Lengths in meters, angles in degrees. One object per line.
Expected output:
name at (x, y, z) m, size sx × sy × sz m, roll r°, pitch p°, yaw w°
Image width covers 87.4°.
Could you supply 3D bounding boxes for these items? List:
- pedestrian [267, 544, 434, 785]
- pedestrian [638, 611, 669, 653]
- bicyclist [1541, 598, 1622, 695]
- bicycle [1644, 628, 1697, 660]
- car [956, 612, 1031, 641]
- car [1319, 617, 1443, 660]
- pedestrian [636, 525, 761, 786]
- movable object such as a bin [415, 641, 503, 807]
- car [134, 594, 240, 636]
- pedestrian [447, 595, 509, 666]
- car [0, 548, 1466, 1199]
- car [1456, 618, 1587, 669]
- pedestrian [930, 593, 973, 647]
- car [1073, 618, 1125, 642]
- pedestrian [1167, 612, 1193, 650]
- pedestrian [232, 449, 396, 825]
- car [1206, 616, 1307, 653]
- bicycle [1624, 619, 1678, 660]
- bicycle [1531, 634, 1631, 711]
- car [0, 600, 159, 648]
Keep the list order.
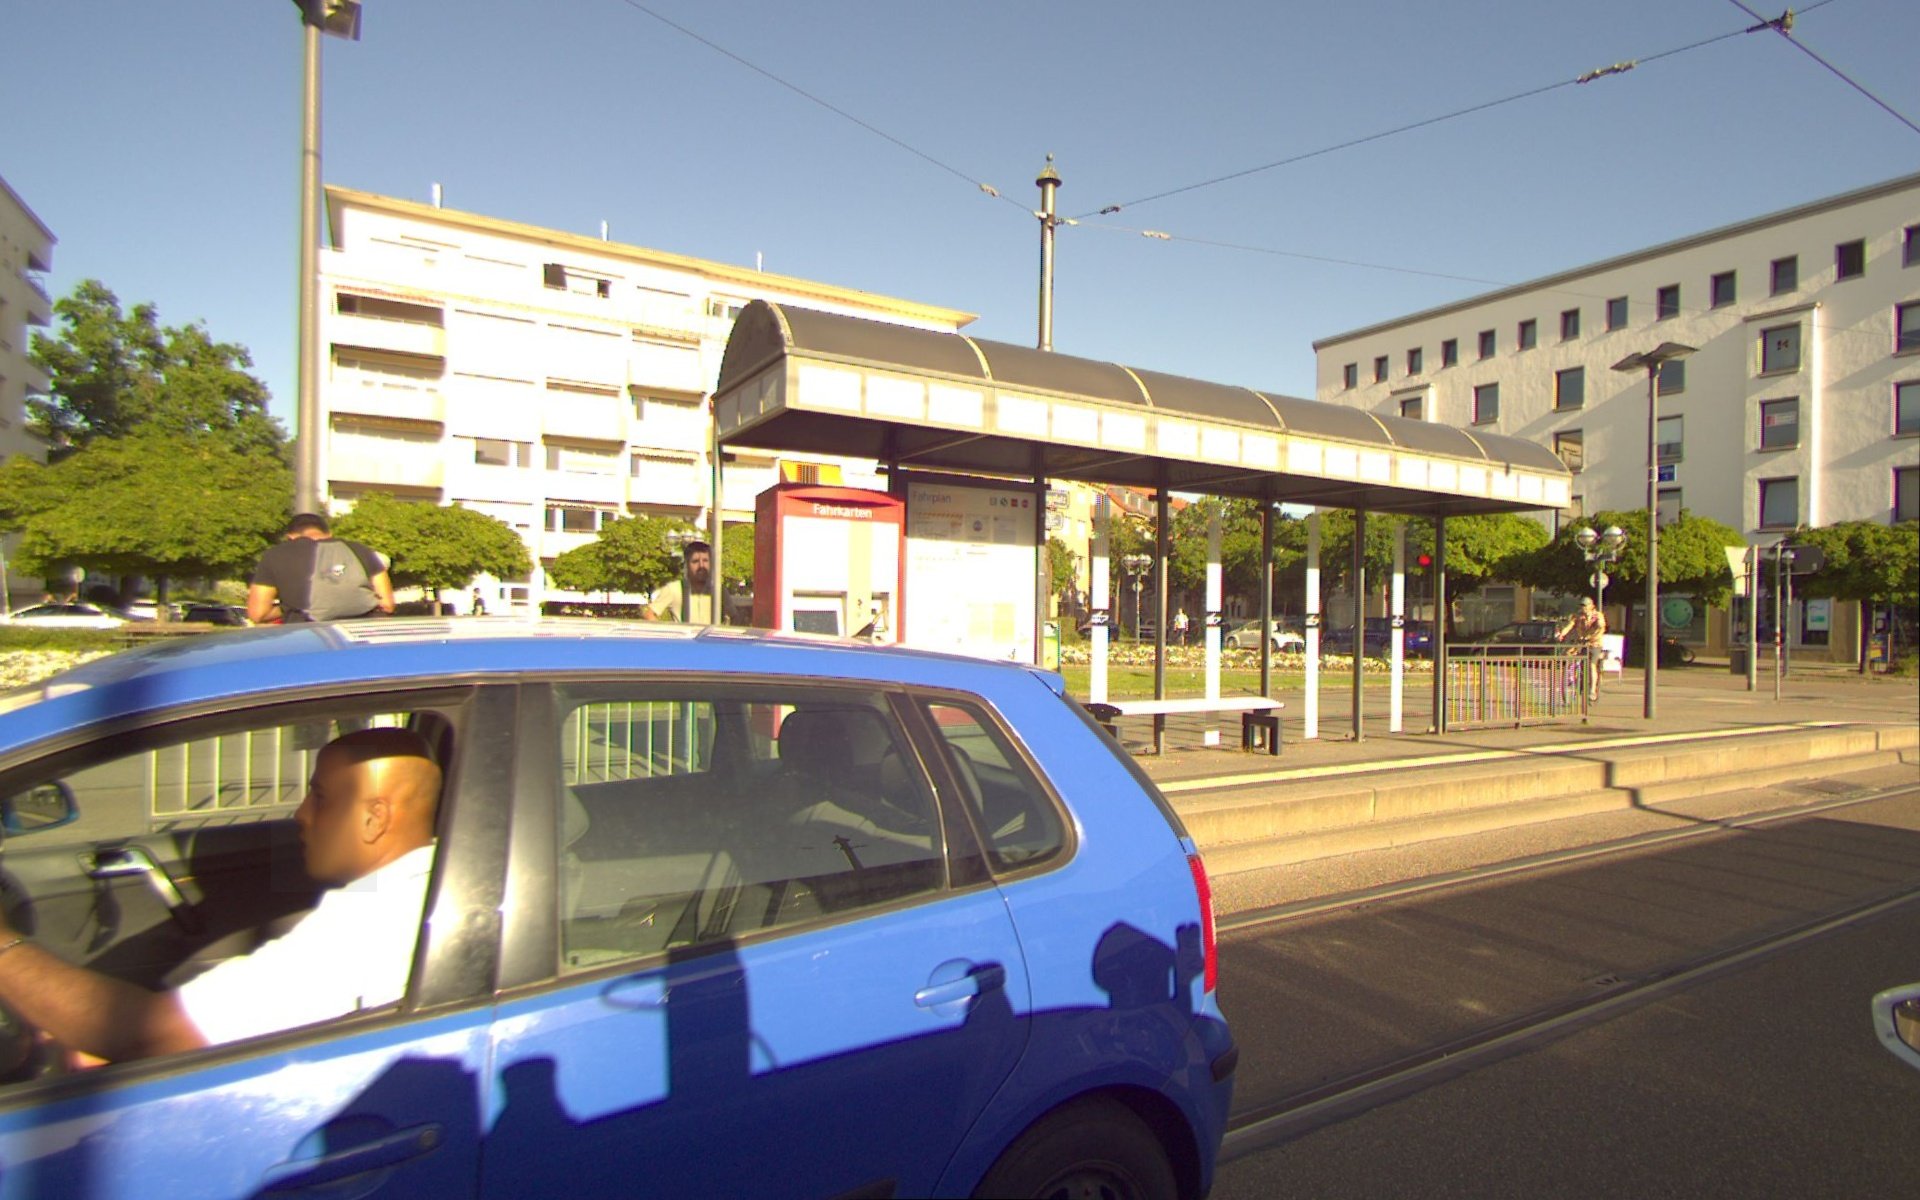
pedestrian at (-4.726, 0.474, 7.779) m, size 0.966 × 1.702 × 0.985 m, roll 1°, pitch -2°, yaw -40°
pedestrian at (-10.262, 1.054, 33.606) m, size 0.673 × 1.378 × 1.042 m, roll 1°, pitch -1°, yaw -34°
bicyclist at (9.832, 0.721, 15.896) m, size 0.870 × 1.475 × 0.821 m, roll 2°, pitch 0°, yaw -39°
bicycle at (28.207, 1.750, 39.866) m, size 2.586 × 1.206 × 0.615 m, roll 1°, pitch -1°, yaw -27°
car at (1.639, 1.291, 49.226) m, size 3.271 × 1.372 × 1.638 m, roll 1°, pitch -1°, yaw -29°
car at (17.862, 1.588, 42.836) m, size 1.978 × 1.684 × 4.581 m, roll 1°, pitch -1°, yaw -31°
pedestrian at (-1.925, 0.398, 7.382) m, size 0.760 × 1.797 × 0.613 m, roll 1°, pitch -3°, yaw -28°
movable object such as a bin at (-2.775, 0.667, 5.568) m, size 0.411 × 0.871 × 0.335 m, roll 1°, pitch -1°, yaw -27°
car at (-28.546, 0.567, 37.192) m, size 2.899 × 1.506 × 1.407 m, roll 1°, pitch -1°, yaw -30°
pedestrian at (-12.621, 0.781, 26.339) m, size 1.155 × 1.811 × 1.080 m, roll 1°, pitch 0°, yaw -9°
car at (-0.905, 0.717, 2.030) m, size 3.956 × 1.507 × 1.658 m, roll 1°, pitch -1°, yaw -32°
car at (21.063, 1.594, 37.846) m, size 1.804 × 1.728 × 3.968 m, roll 1°, pitch -1°, yaw -30°
pedestrian at (-0.352, 0.785, 39.376) m, size 1.219 × 2.040 × 1.214 m, roll 1°, pitch -1°, yaw -30°
car at (9.331, 1.980, 67.115) m, size 1.887 × 1.514 × 4.343 m, roll 2°, pitch 0°, yaw 31°
pedestrian at (10.869, 1.508, 49.672) m, size 0.856 × 1.841 × 0.944 m, roll 1°, pitch 0°, yaw -19°
pedestrian at (-3.207, 0.182, 5.040) m, size 0.599 × 1.740 × 0.546 m, roll 1°, pitch -3°, yaw -28°
car at (14.076, 1.598, 47.913) m, size 1.835 × 1.628 × 4.581 m, roll 1°, pitch -1°, yaw -31°
bicycle at (27.881, 1.596, 40.510) m, size 2.585 × 1.628 × 0.616 m, roll 1°, pitch -1°, yaw -26°
bicycle at (9.871, 1.122, 15.941) m, size 1.959 × 1.128 × 0.722 m, roll 2°, pitch 0°, yaw -38°
car at (-25.656, 0.692, 28.979) m, size 3.672 × 1.318 × 1.984 m, roll 1°, pitch -1°, yaw -30°
